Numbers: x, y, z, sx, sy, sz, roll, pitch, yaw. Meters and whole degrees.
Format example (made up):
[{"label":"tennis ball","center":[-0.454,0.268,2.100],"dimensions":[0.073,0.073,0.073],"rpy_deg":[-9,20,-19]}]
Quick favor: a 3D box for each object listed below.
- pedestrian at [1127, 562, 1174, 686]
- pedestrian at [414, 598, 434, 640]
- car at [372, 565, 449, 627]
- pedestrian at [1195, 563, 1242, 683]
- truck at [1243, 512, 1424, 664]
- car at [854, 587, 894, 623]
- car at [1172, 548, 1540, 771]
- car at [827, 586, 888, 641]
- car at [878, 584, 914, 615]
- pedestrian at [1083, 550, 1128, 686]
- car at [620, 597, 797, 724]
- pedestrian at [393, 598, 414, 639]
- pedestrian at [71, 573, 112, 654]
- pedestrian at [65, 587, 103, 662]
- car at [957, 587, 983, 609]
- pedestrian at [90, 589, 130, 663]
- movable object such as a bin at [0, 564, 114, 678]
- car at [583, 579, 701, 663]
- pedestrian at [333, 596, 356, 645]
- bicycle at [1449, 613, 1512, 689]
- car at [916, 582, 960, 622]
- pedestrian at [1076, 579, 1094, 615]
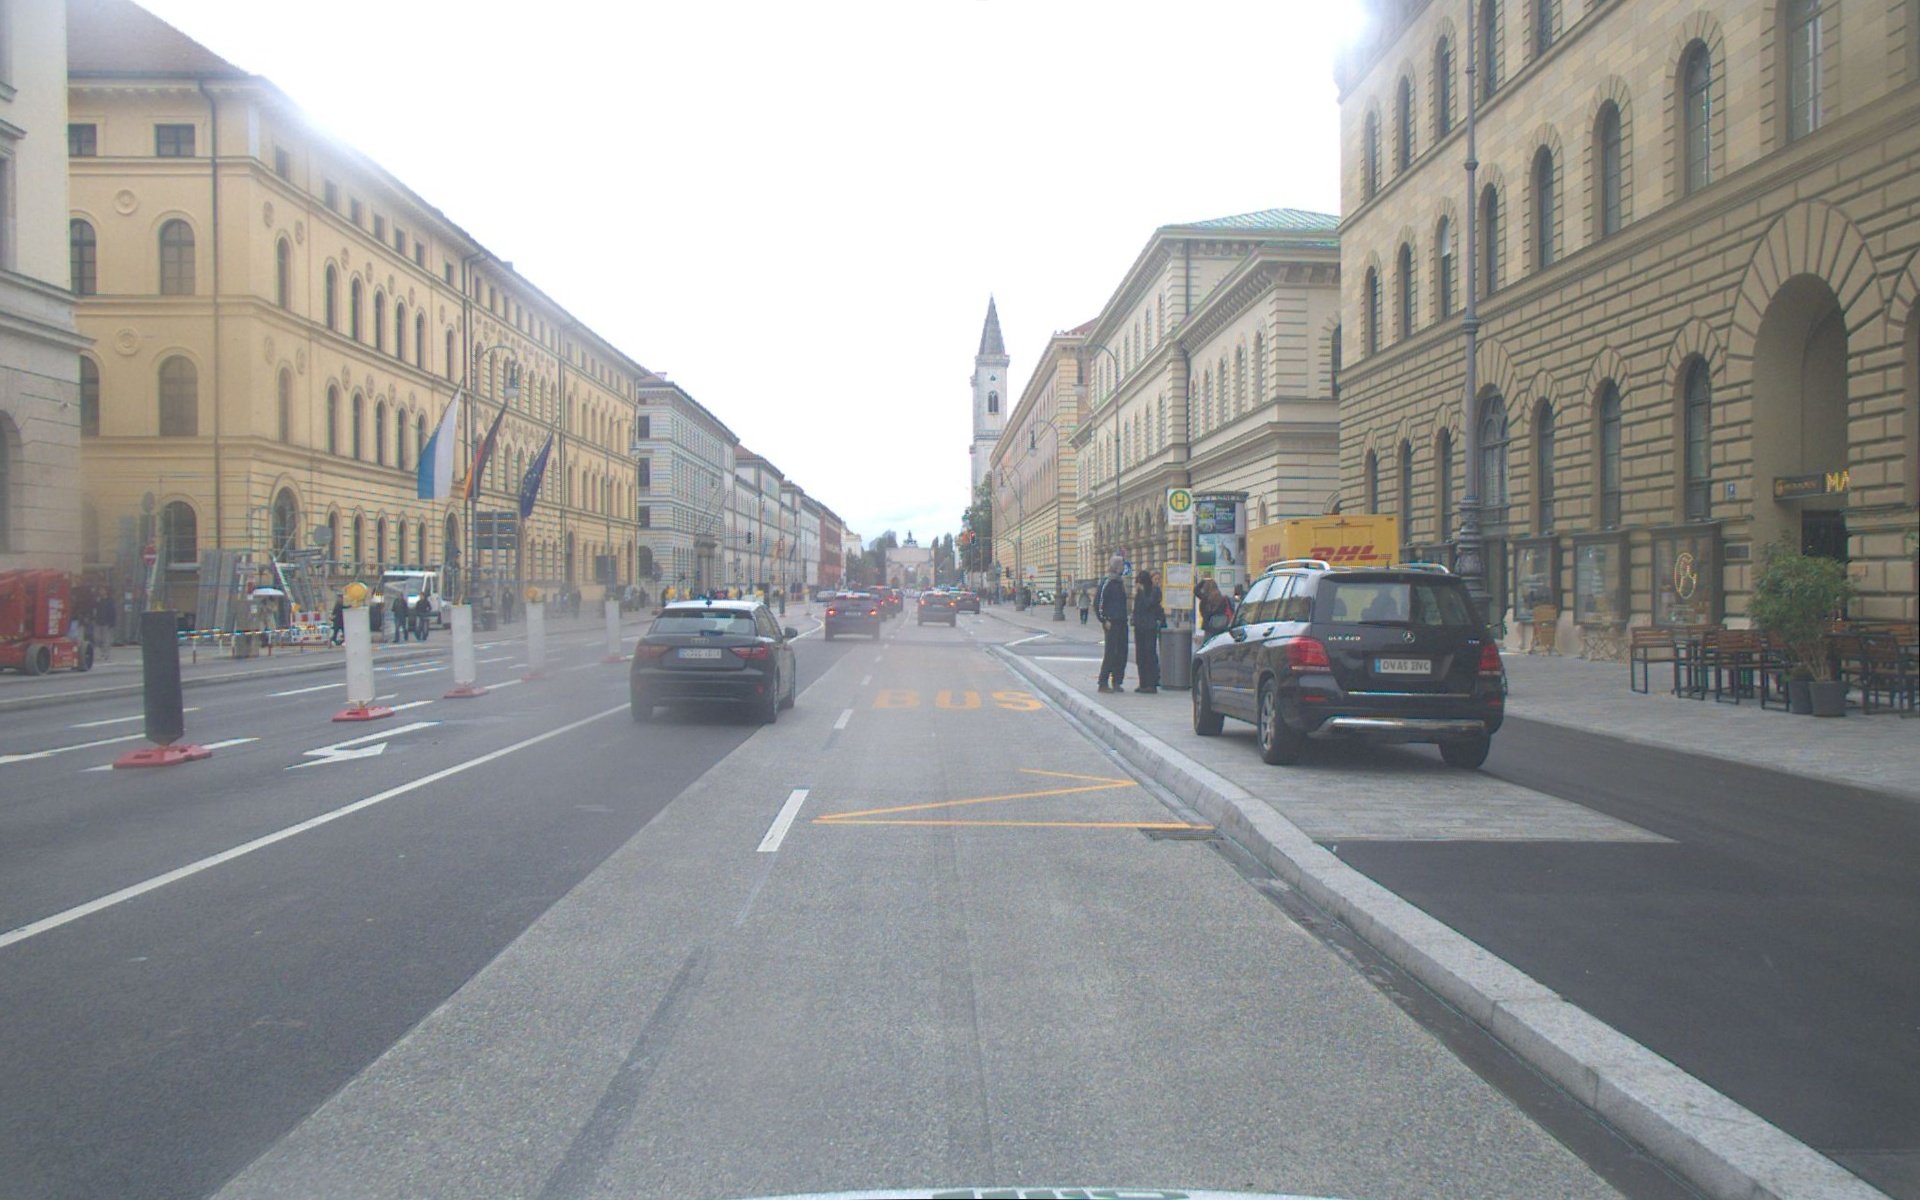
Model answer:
[{"label":"pedestrian","center":[2.697,0.335,23.410],"dimensions":[0.603,1.732,0.541],"rpy_deg":[0,-1,1]},{"label":"pedestrian","center":[-18.510,0.658,57.165],"dimensions":[0.529,1.435,0.617],"rpy_deg":[0,-1,-5]},{"label":"car","center":[-21.316,-0.137,64.290],"dimensions":[1.703,2.329,3.999],"rpy_deg":[0,-1,-1]},{"label":"pedestrian","center":[3.764,0.334,24.114],"dimensions":[0.603,1.732,0.541],"rpy_deg":[0,-1,1]},{"label":"truck","center":[7.458,-0.192,33.754],"dimensions":[2.567,2.813,5.808],"rpy_deg":[0,-1,2]},{"label":"car","center":[-4.493,0.231,86.899],"dimensions":[1.953,1.803,3.999],"rpy_deg":[-1,0,-1]},{"label":"car","center":[3.310,0.455,14.751],"dimensions":[2.028,1.691,4.219],"rpy_deg":[1,0,-4]},{"label":"car","center":[-3.189,0.444,52.023],"dimensions":[1.733,1.645,3.999],"rpy_deg":[0,-1,-1]},{"label":"car","center":[-3.755,-0.046,97.578],"dimensions":[1.953,1.803,3.999],"rpy_deg":[-1,0,-1]},{"label":"pedestrian","center":[2.060,0.259,23.462],"dimensions":[0.602,1.908,0.541],"rpy_deg":[0,-1,3]},{"label":"car","center":[-3.024,0.680,20.600],"dimensions":[1.826,1.412,3.997],"rpy_deg":[1,0,-4]},{"label":"pedestrian","center":[-19.174,0.641,57.007],"dimensions":[0.529,1.431,0.617],"rpy_deg":[0,-1,-5]},{"label":"pedestrian","center":[-21.401,0.332,40.761],"dimensions":[0.666,1.965,0.651],"rpy_deg":[0,-1,-5]},{"label":"pedestrian","center":[-20.120,0.570,37.994],"dimensions":[0.541,1.705,0.617],"rpy_deg":[0,-1,-5]},{"label":"car","center":[0.742,-0.127,125.126],"dimensions":[1.822,1.606,3.999],"rpy_deg":[0,-1,-1]},{"label":"pedestrian","center":[-19.536,0.588,38.022],"dimensions":[0.600,1.681,0.617],"rpy_deg":[0,-1,-5]},{"label":"movable object such as a bin","center":[-17.950,0.398,30.697],"dimensions":[1.480,2.049,5.974],"rpy_deg":[0,-1,-1]},{"label":"car","center":[-6.594,0.440,34.669],"dimensions":[1.733,1.645,3.999],"rpy_deg":[0,-1,-1]},{"label":"pedestrian","center":[-19.565,0.656,52.554],"dimensions":[0.541,1.557,0.617],"rpy_deg":[0,-1,-5]},{"label":"bicycle","center":[7.356,0.712,23.438],"dimensions":[0.507,1.040,1.651],"rpy_deg":[0,-1,5]},{"label":"car","center":[-1.036,0.084,77.626],"dimensions":[1.953,1.803,3.999],"rpy_deg":[-1,0,-1]},{"label":"pedestrian","center":[6.082,-0.147,80.363],"dimensions":[0.781,1.720,0.800],"rpy_deg":[0,-1,-1]}]
